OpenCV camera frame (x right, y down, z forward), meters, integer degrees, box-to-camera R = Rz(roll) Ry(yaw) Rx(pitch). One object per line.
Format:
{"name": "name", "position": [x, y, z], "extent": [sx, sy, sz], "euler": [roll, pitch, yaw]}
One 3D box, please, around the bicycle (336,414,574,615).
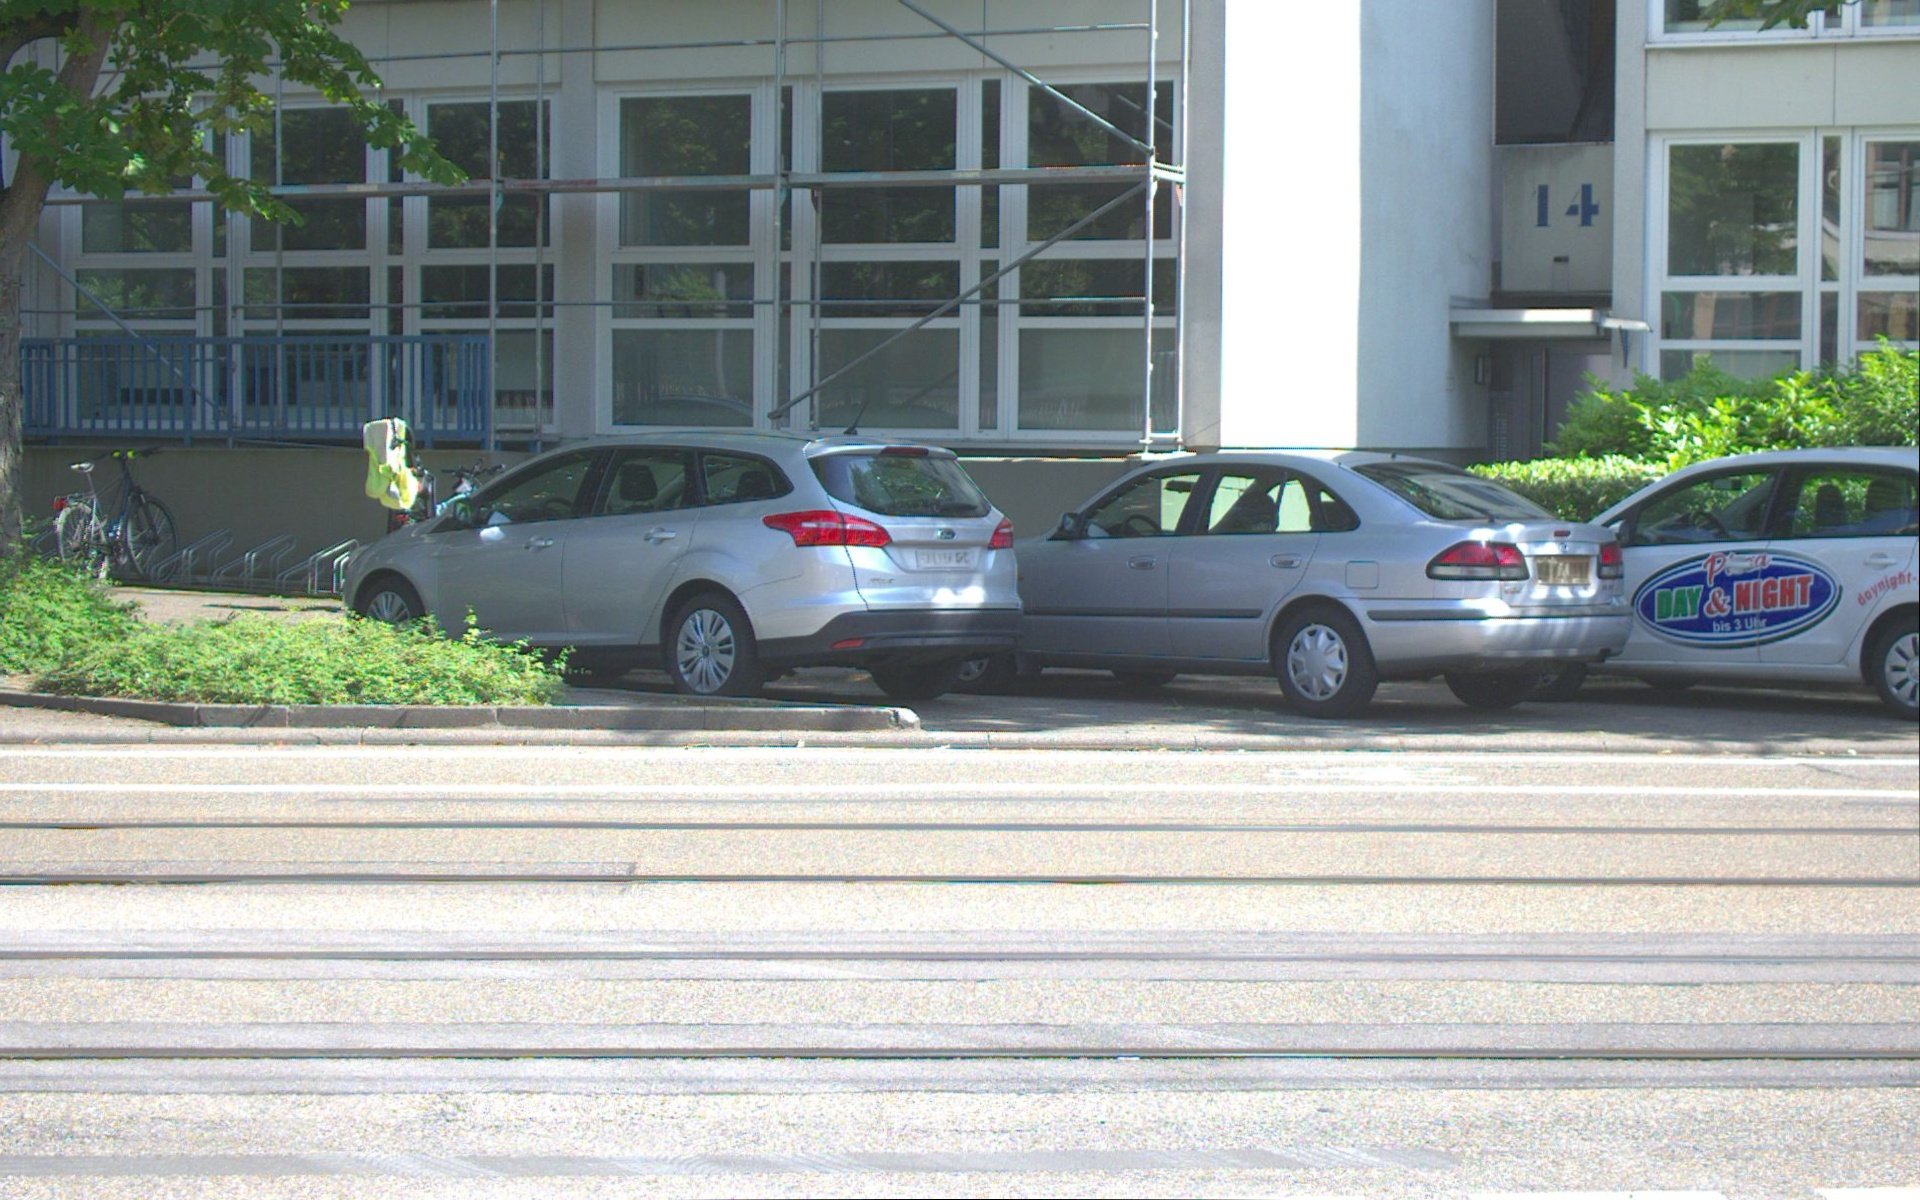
{"name": "bicycle", "position": [-3.776, -0.665, 25.892], "extent": [0.662, 1.448, 2.087], "euler": [2, 3, 28]}

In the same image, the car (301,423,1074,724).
{"name": "car", "position": [-1.636, -0.235, 19.435], "extent": [4.432, 1.481, 1.780], "euler": [3, 4, 42]}

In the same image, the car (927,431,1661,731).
{"name": "car", "position": [1.791, -0.184, 19.322], "extent": [3.943, 1.481, 1.609], "euler": [3, 4, 44]}

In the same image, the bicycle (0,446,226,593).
{"name": "bicycle", "position": [-6.550, -0.651, 26.691], "extent": [0.741, 1.082, 2.202], "euler": [1, 3, 15]}

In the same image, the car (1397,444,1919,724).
{"name": "car", "position": [4.588, -0.144, 19.673], "extent": [3.942, 1.481, 1.609], "euler": [2, 3, 43]}
